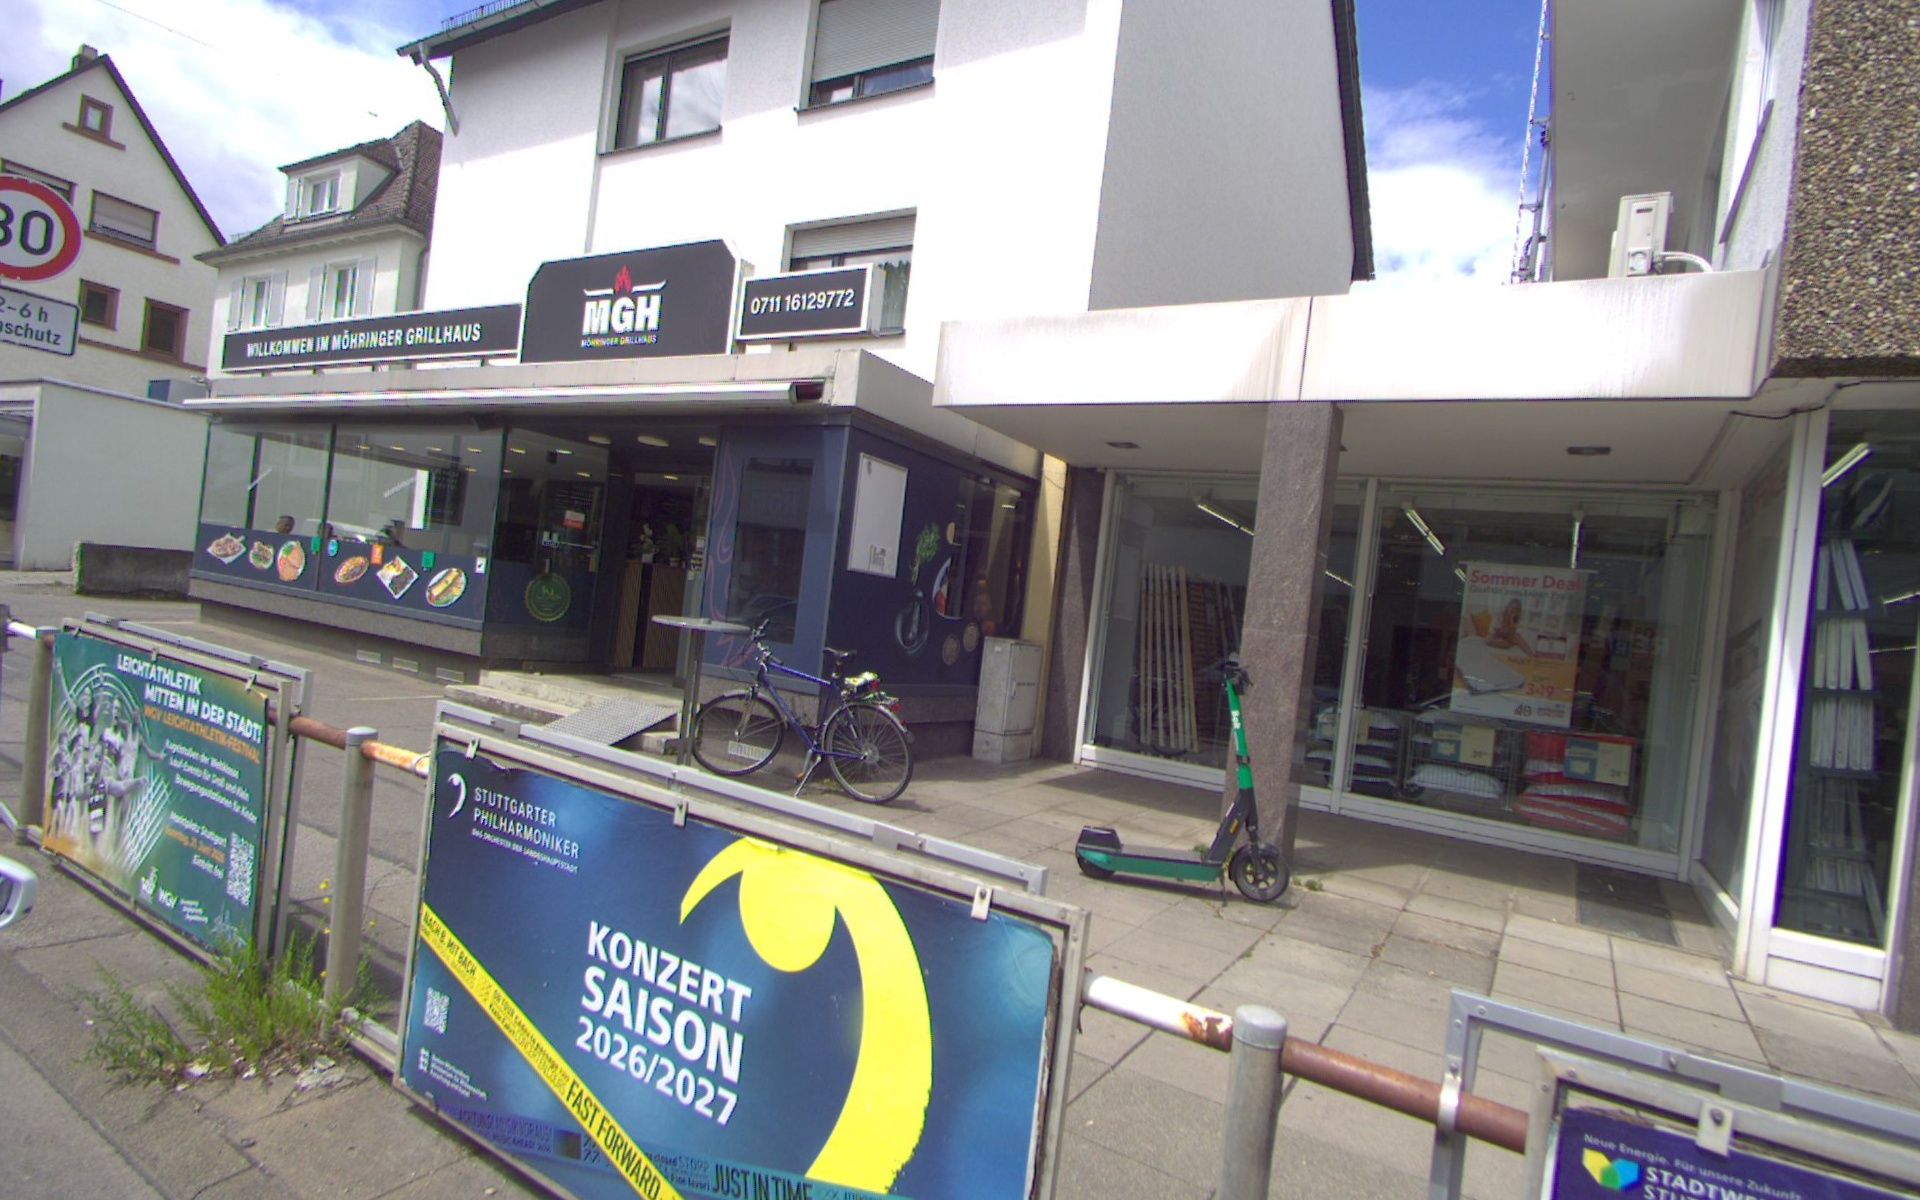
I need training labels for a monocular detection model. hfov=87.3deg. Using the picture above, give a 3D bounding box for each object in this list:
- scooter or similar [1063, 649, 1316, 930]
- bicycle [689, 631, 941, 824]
[{"bbox_3d":[1.286,0.979,5.582,1.163,1.283,0.689,6,1,20],"label":"scooter or similar"},{"bbox_3d":[-1.014,0.833,6.942,1.606,1.041,0.476,7,1,23],"label":"bicycle"}]
